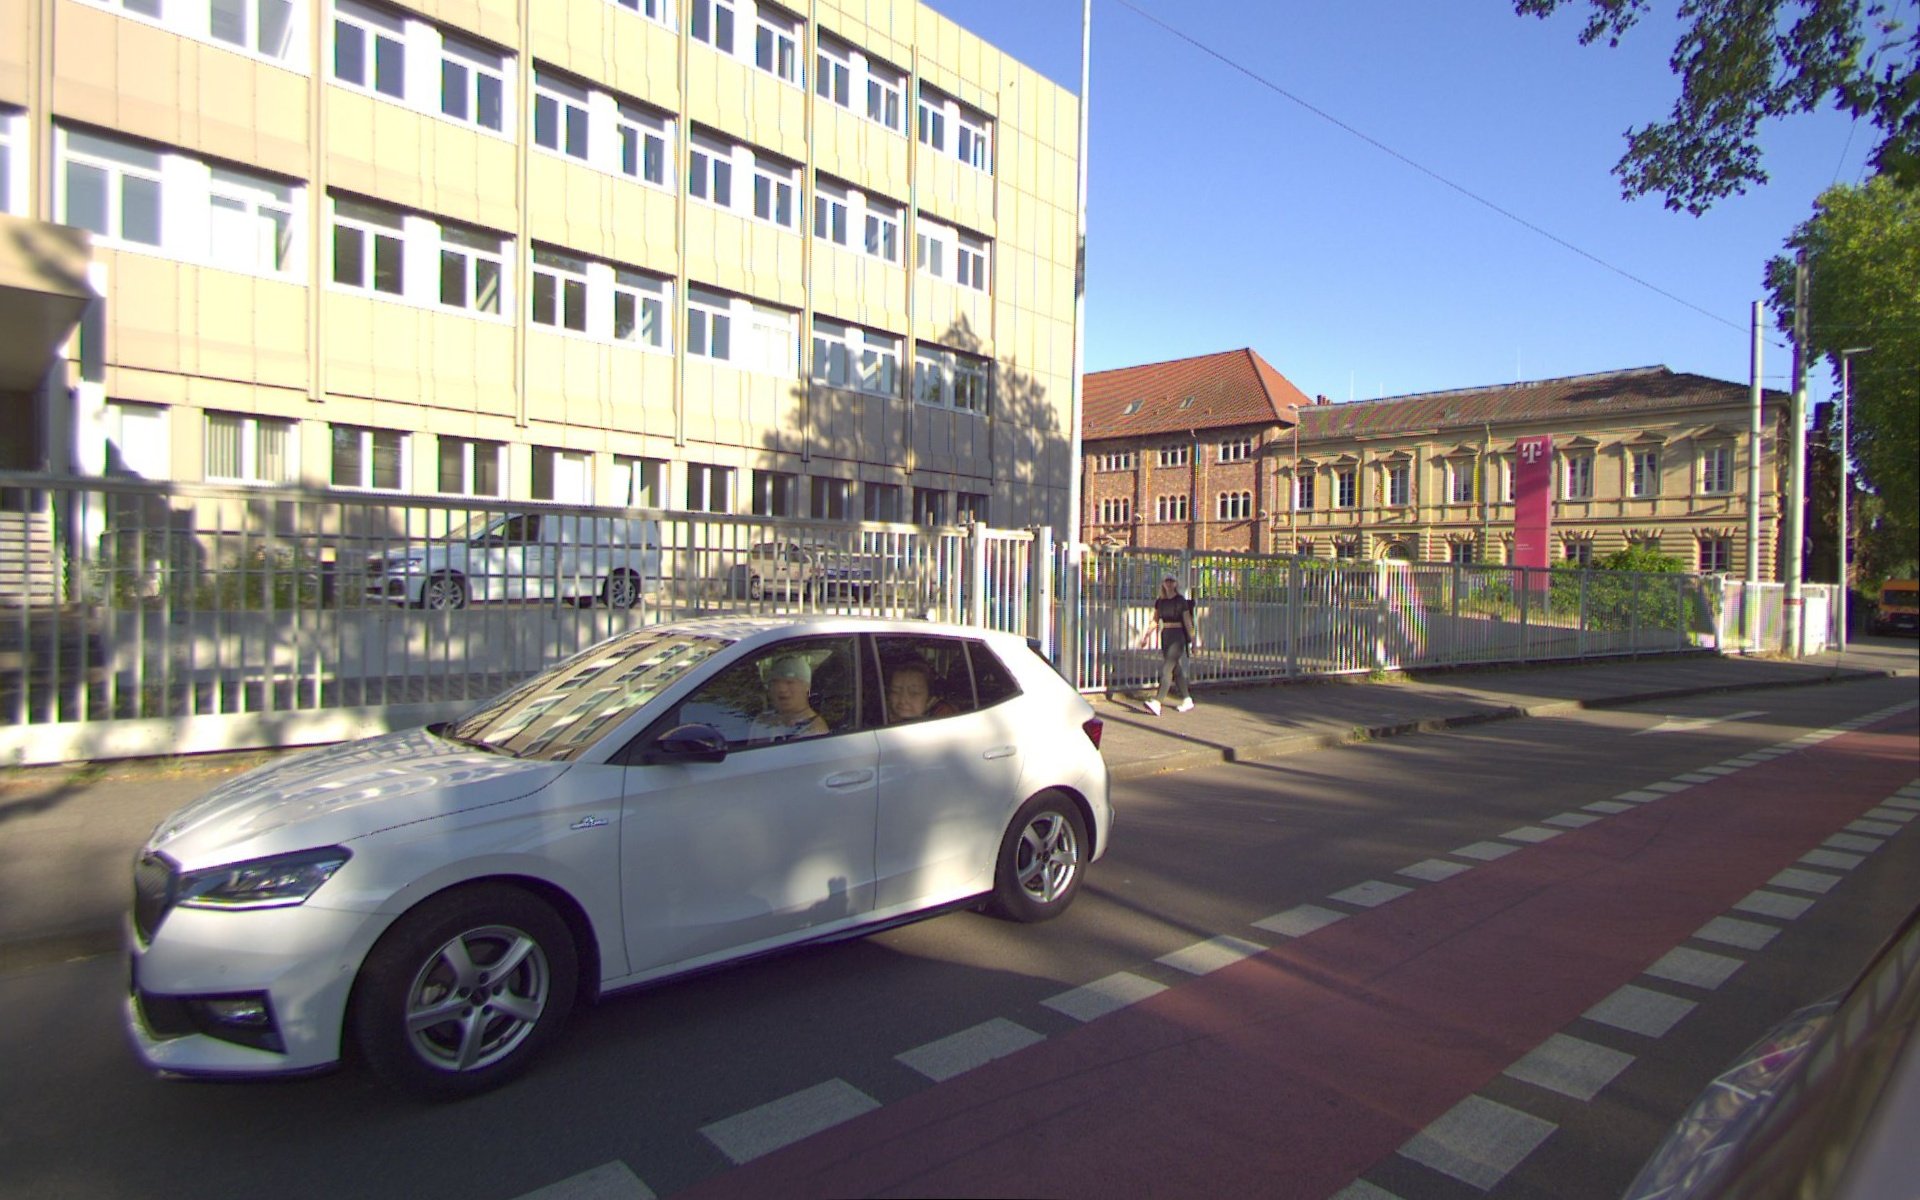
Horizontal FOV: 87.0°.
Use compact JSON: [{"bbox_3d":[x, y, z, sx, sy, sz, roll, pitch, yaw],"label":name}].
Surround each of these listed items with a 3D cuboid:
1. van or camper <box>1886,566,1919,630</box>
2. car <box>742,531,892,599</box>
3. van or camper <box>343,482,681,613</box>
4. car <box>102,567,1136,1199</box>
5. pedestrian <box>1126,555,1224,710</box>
[{"bbox_3d":[41.309,-0.089,43.359,5.678,2.591,2.038,0,1,-44],"label":"van or camper"},{"bbox_3d":[-4.040,-0.968,28.203,4.253,1.739,1.962,2,2,44],"label":"car"},{"bbox_3d":[-7.509,-0.813,17.367,1.981,1.932,4.921,3,2,43],"label":"van or camper"},{"bbox_3d":[-1.159,0.662,4.428,3.913,1.520,1.804,0,1,-42],"label":"car"},{"bbox_3d":[2.495,0.348,11.736,0.915,1.705,0.696,0,1,-43],"label":"pedestrian"}]
